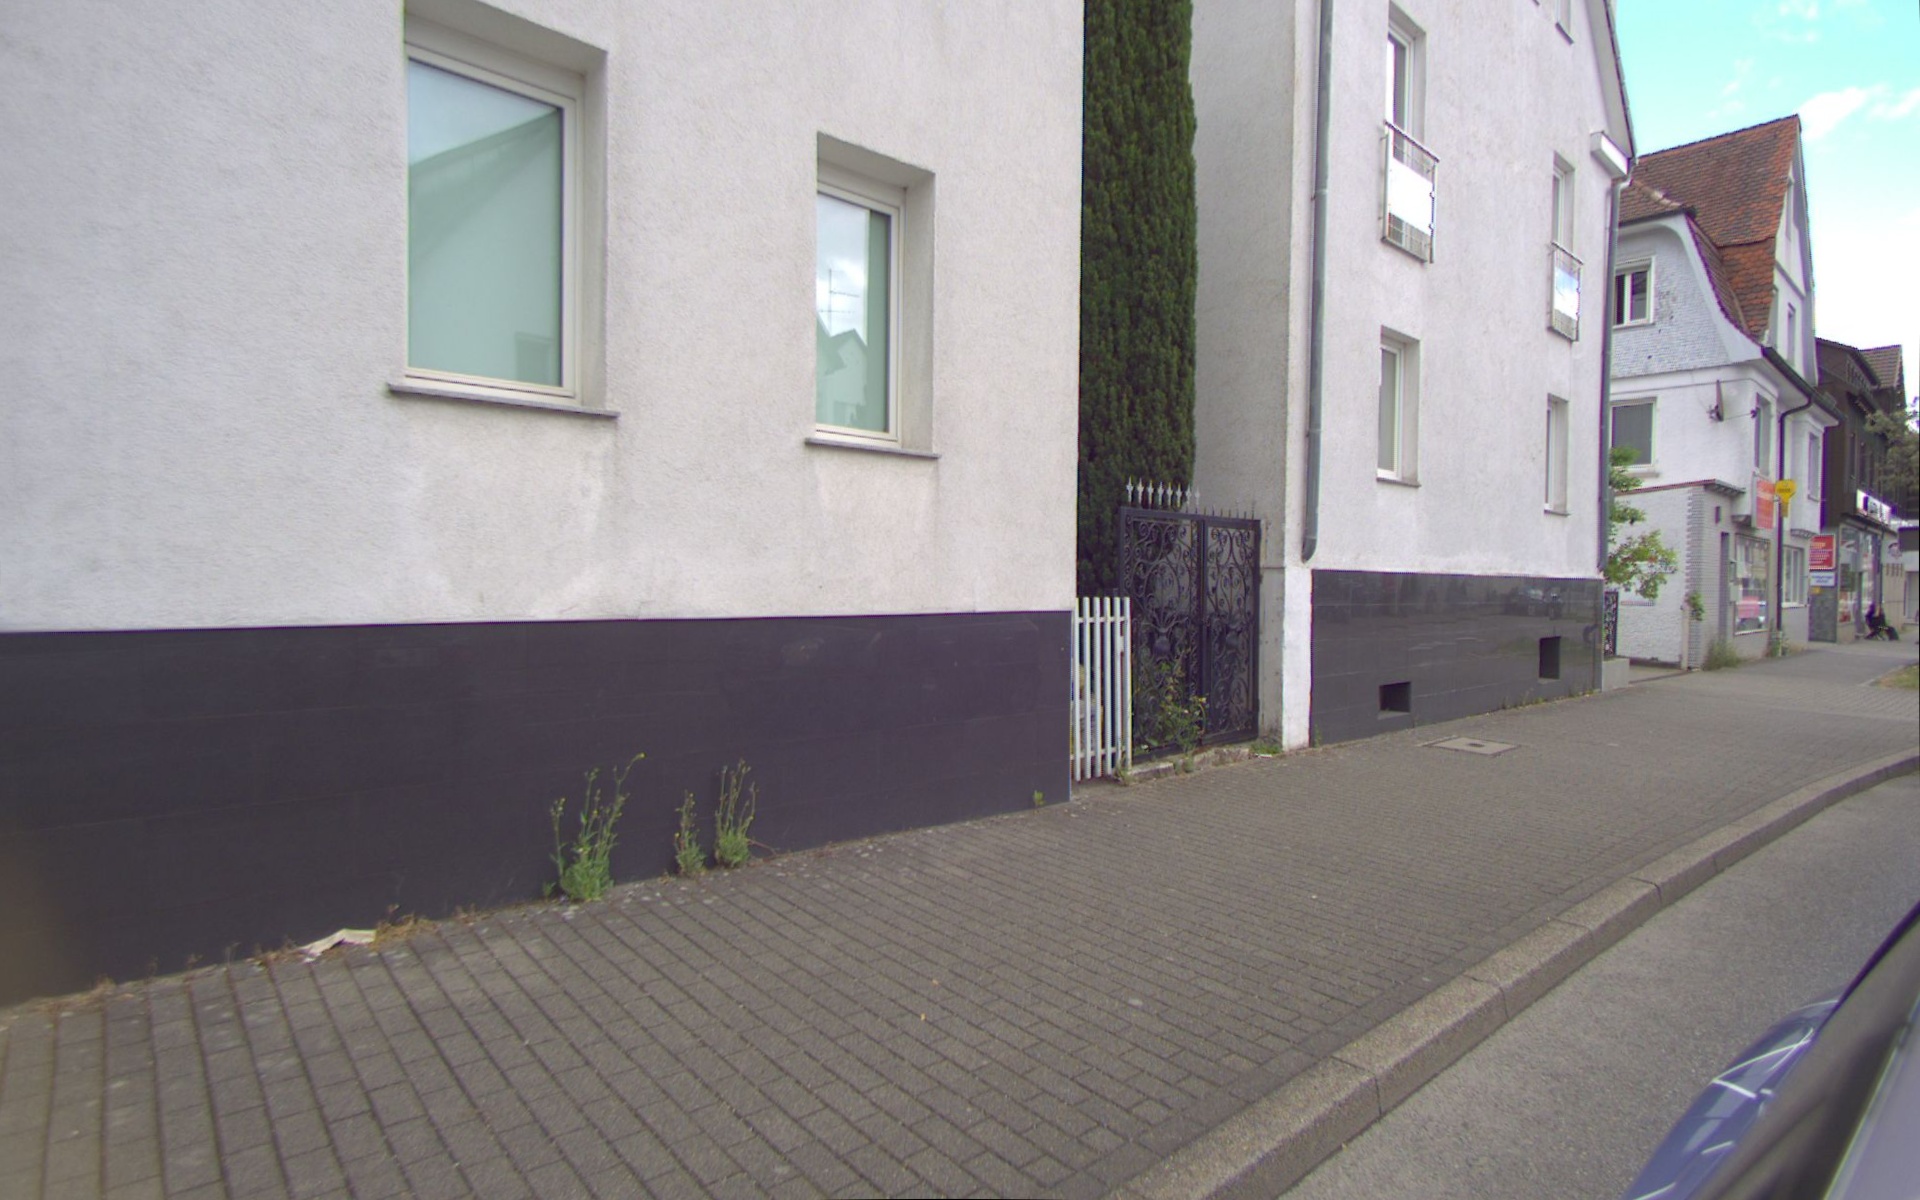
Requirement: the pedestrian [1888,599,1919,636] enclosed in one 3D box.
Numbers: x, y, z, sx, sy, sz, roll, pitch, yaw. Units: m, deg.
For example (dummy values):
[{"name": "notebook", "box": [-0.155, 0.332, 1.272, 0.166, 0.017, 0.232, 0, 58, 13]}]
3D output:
[{"name": "pedestrian", "box": [32.744, 0.587, 35.094, 0.633, 1.226, 0.741, 0, 2, -42]}]
